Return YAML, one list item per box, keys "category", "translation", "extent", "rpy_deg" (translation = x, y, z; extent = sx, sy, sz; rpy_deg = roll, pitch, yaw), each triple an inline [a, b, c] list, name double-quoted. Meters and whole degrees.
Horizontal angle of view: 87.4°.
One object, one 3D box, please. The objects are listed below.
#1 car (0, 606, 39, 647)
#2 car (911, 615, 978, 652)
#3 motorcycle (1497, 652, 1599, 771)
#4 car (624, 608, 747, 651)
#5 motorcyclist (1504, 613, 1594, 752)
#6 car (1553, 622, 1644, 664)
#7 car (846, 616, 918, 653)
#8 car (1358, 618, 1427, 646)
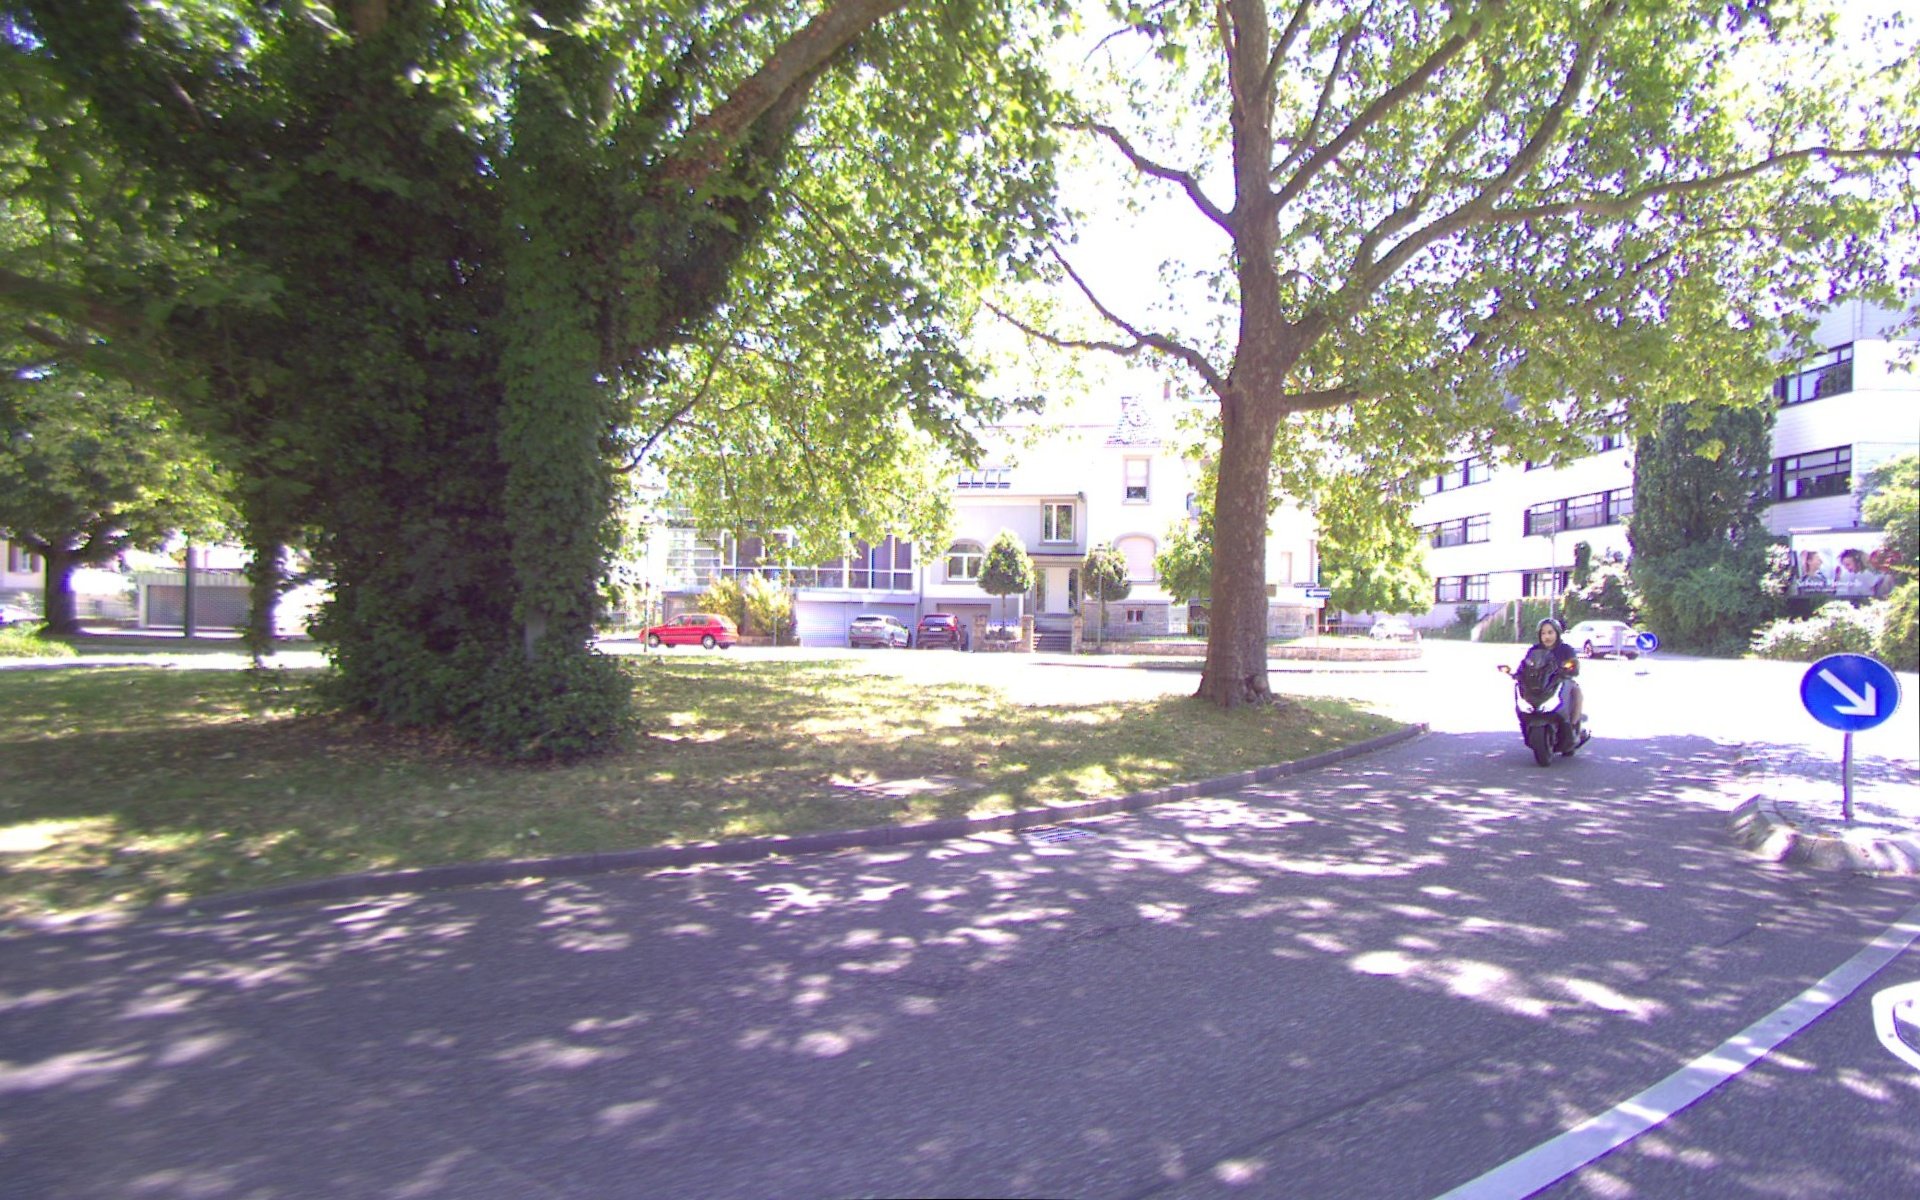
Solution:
- category: "car"
  translation: [-44.434, 1.147, 45.012]
  extent: [4.418, 1.802, 2.000]
  rpy_deg: [1, 0, -1]
- category: "car"
  translation: [-0.643, 1.450, 44.586]
  extent: [1.960, 1.445, 4.002]
  rpy_deg: [2, 0, 14]
- category: "motorcycle"
  translation: [7.157, 1.290, 12.175]
  extent: [0.797, 1.248, 2.042]
  rpy_deg: [1, -1, 38]
- category: "car"
  translation: [-11.221, 1.184, 41.258]
  extent: [4.414, 1.640, 2.001]
  rpy_deg: [1, 0, 11]
- category: "motorcyclist"
  translation: [7.124, 0.955, 12.128]
  extent: [0.797, 1.576, 1.100]
  rpy_deg: [1, -1, 38]
- category: "car"
  translation: [28.746, 1.894, 45.393]
  extent: [1.903, 1.636, 4.474]
  rpy_deg: [1, 0, 10]
- category: "car"
  translation: [-3.376, 1.476, 44.108]
  extent: [1.843, 1.454, 4.002]
  rpy_deg: [2, 0, 16]
- category: "car"
  translation: [26.879, 1.953, 62.585]
  extent: [1.845, 1.645, 4.295]
  rpy_deg: [0, 0, -12]
